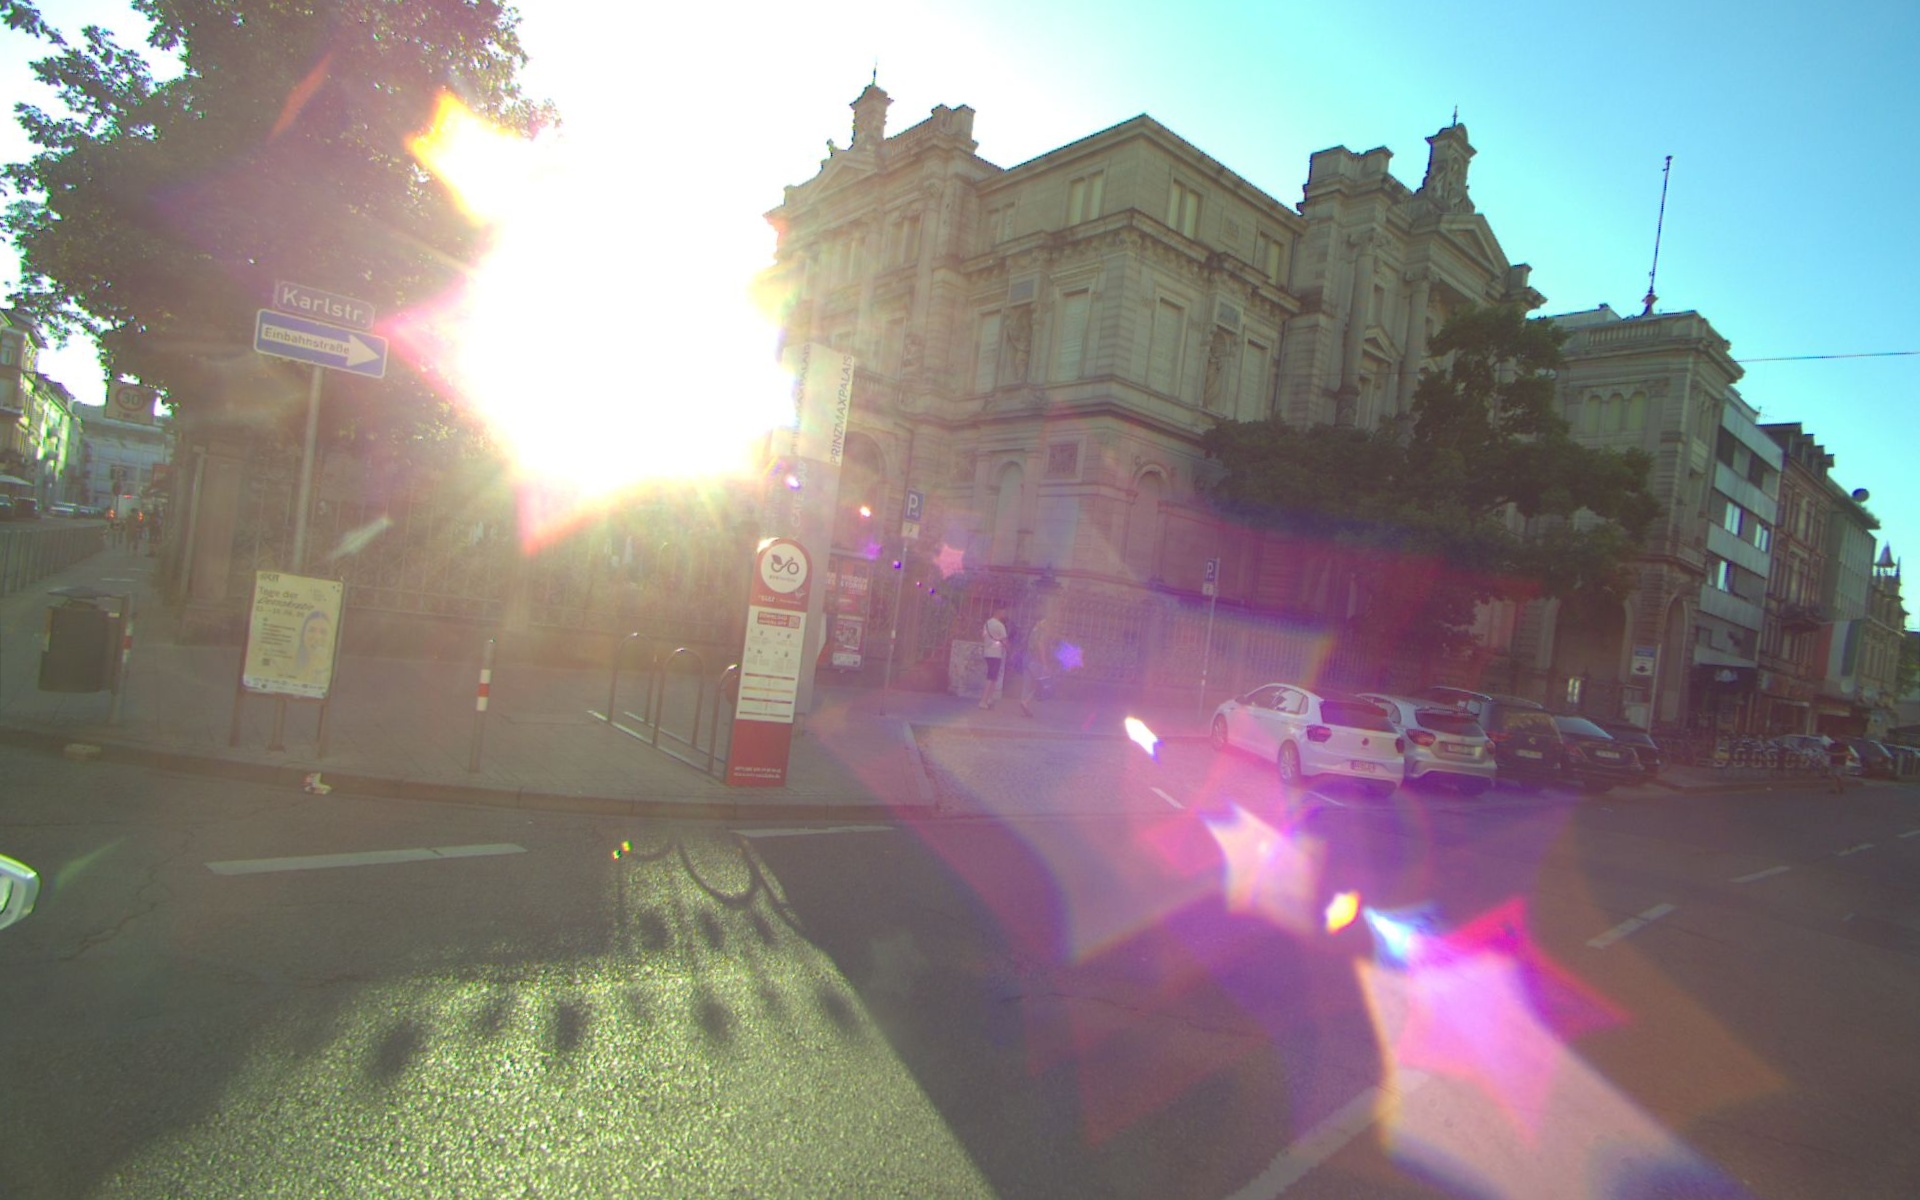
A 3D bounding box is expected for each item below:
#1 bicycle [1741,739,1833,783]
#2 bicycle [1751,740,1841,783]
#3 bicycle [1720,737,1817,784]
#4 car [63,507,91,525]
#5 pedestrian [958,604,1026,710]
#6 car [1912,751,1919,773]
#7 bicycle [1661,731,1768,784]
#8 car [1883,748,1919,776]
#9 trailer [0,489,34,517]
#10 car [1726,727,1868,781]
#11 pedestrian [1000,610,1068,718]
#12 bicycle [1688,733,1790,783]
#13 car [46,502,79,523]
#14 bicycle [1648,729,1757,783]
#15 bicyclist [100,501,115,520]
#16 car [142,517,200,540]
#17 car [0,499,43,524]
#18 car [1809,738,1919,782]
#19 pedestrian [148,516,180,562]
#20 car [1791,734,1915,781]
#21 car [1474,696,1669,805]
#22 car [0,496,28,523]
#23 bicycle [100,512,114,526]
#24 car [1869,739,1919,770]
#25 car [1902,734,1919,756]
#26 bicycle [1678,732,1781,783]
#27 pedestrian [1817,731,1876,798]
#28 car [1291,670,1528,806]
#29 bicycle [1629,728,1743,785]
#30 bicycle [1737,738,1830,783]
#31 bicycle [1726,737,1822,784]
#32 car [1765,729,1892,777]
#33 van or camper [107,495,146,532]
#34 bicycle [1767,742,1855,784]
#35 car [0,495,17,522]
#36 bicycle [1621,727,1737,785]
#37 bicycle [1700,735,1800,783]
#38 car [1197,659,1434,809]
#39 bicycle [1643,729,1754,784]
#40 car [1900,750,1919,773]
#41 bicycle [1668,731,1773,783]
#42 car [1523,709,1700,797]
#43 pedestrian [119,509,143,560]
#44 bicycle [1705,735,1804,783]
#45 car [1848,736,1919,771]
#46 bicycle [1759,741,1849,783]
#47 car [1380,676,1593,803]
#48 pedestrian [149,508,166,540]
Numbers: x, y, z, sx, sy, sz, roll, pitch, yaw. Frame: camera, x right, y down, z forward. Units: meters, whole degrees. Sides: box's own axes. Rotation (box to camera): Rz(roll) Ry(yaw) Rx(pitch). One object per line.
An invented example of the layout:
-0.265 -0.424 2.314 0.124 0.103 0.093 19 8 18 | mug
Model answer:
28.222 5.478 34.345 0.712 1.103 2.275 7 -1 -42 | bicycle
29.119 5.613 35.082 0.712 1.103 2.275 7 -1 -42 | bicycle
25.971 5.135 32.364 0.712 1.103 2.275 7 -1 -42 | bicycle
-100.839 -9.610 114.928 1.985 1.704 3.958 8 -2 -38 | car
0.541 0.969 17.007 0.632 1.691 0.703 9 1 37 | pedestrian
67.410 11.294 68.178 1.741 1.429 3.959 8 -2 -38 | car
21.440 4.453 28.632 0.712 1.103 2.275 7 -1 -42 | bicycle
57.978 9.863 60.019 1.741 1.429 3.959 8 -2 -38 | car
-63.324 -6.479 67.049 1.986 1.575 3.956 8 -2 -40 | trailer
32.952 6.044 39.676 1.741 1.429 3.959 8 -2 -38 | car
1.240 1.075 16.746 0.632 1.691 0.703 9 1 37 | pedestrian
23.531 4.771 30.443 0.712 1.103 2.275 7 -1 -42 | bicycle
-86.918 -8.440 97.423 1.985 1.704 3.958 8 -2 -38 | car
20.651 4.336 28.033 0.712 1.103 2.275 7 -1 -42 | bicycle
-93.187 -9.748 109.973 0.985 1.891 0.701 7 -1 -39 | bicyclist
-71.195 -6.467 90.793 3.970 1.436 1.639 8 -2 -39 | car
-66.009 -6.227 70.829 1.876 1.470 3.955 8 -1 -40 | car
44.158 7.775 48.980 1.741 1.429 3.959 8 -2 -38 | car
-27.870 -2.136 35.220 0.746 1.519 0.611 4 2 -44 | pedestrian
41.144 7.253 46.418 1.741 1.429 3.959 8 -2 -38 | car
12.543 3.022 20.969 1.722 1.627 4.004 7 -2 5 | car
-60.571 -5.798 63.791 1.876 1.470 3.955 8 -1 -40 | car
-93.366 -8.841 110.076 0.971 1.295 2.725 7 -1 -38 | bicycle
55.048 9.011 57.634 1.731 1.429 3.983 7 -2 -20 | car
88.393 13.374 90.567 4.794 1.756 1.752 6 -1 33 | car
22.819 4.664 29.864 0.712 1.103 2.275 7 -1 -42 | bicycle
25.841 4.783 29.339 0.994 1.771 0.964 7 0 -37 | pedestrian
7.804 2.341 17.948 1.726 1.545 3.989 7 2 -11 | car
19.216 4.114 26.655 0.712 1.103 2.275 7 -1 -42 | bicycle
27.601 5.382 33.750 0.712 1.103 2.275 7 -1 -42 | bicycle
26.630 5.235 32.947 0.712 1.103 2.275 7 -1 -42 | bicycle
38.466 6.764 44.632 1.741 1.429 3.959 8 -2 -38 | car
-66.825 -6.873 80.707 2.244 2.642 5.058 2 2 -38 | van or camper
30.652 5.840 36.254 0.712 1.103 2.275 7 -1 -42 | bicycle
-57.713 -5.556 59.971 1.876 1.470 3.955 8 -1 -40 | car
18.616 4.021 26.086 0.712 1.103 2.275 7 -1 -42 | bicycle
24.400 4.900 31.125 0.712 1.103 2.275 7 -1 -42 | bicycle
5.538 2.033 16.254 1.726 1.466 3.897 7 3 -11 | car
20.068 4.243 27.374 0.712 1.103 2.275 7 -1 -42 | bicycle
64.965 10.935 66.428 1.741 1.429 3.959 8 -2 -38 | car
22.109 4.557 29.290 0.712 1.103 2.275 7 -1 -42 | bicycle
15.300 3.548 23.908 1.722 1.429 4.004 7 -2 5 | car
-28.687 -2.263 34.822 0.610 1.679 0.482 7 2 44 | pedestrian
25.014 4.995 31.708 0.712 1.103 2.275 7 -1 -42 | bicycle
53.075 8.760 56.810 1.731 1.429 3.983 7 -2 -20 | car
29.861 5.722 35.624 0.712 1.103 2.275 7 -1 -42 | bicycle
10.104 2.615 19.703 1.724 1.742 3.997 7 0 -3 | car
-44.545 -4.213 55.835 0.658 1.688 0.617 4 2 -39 | pedestrian
